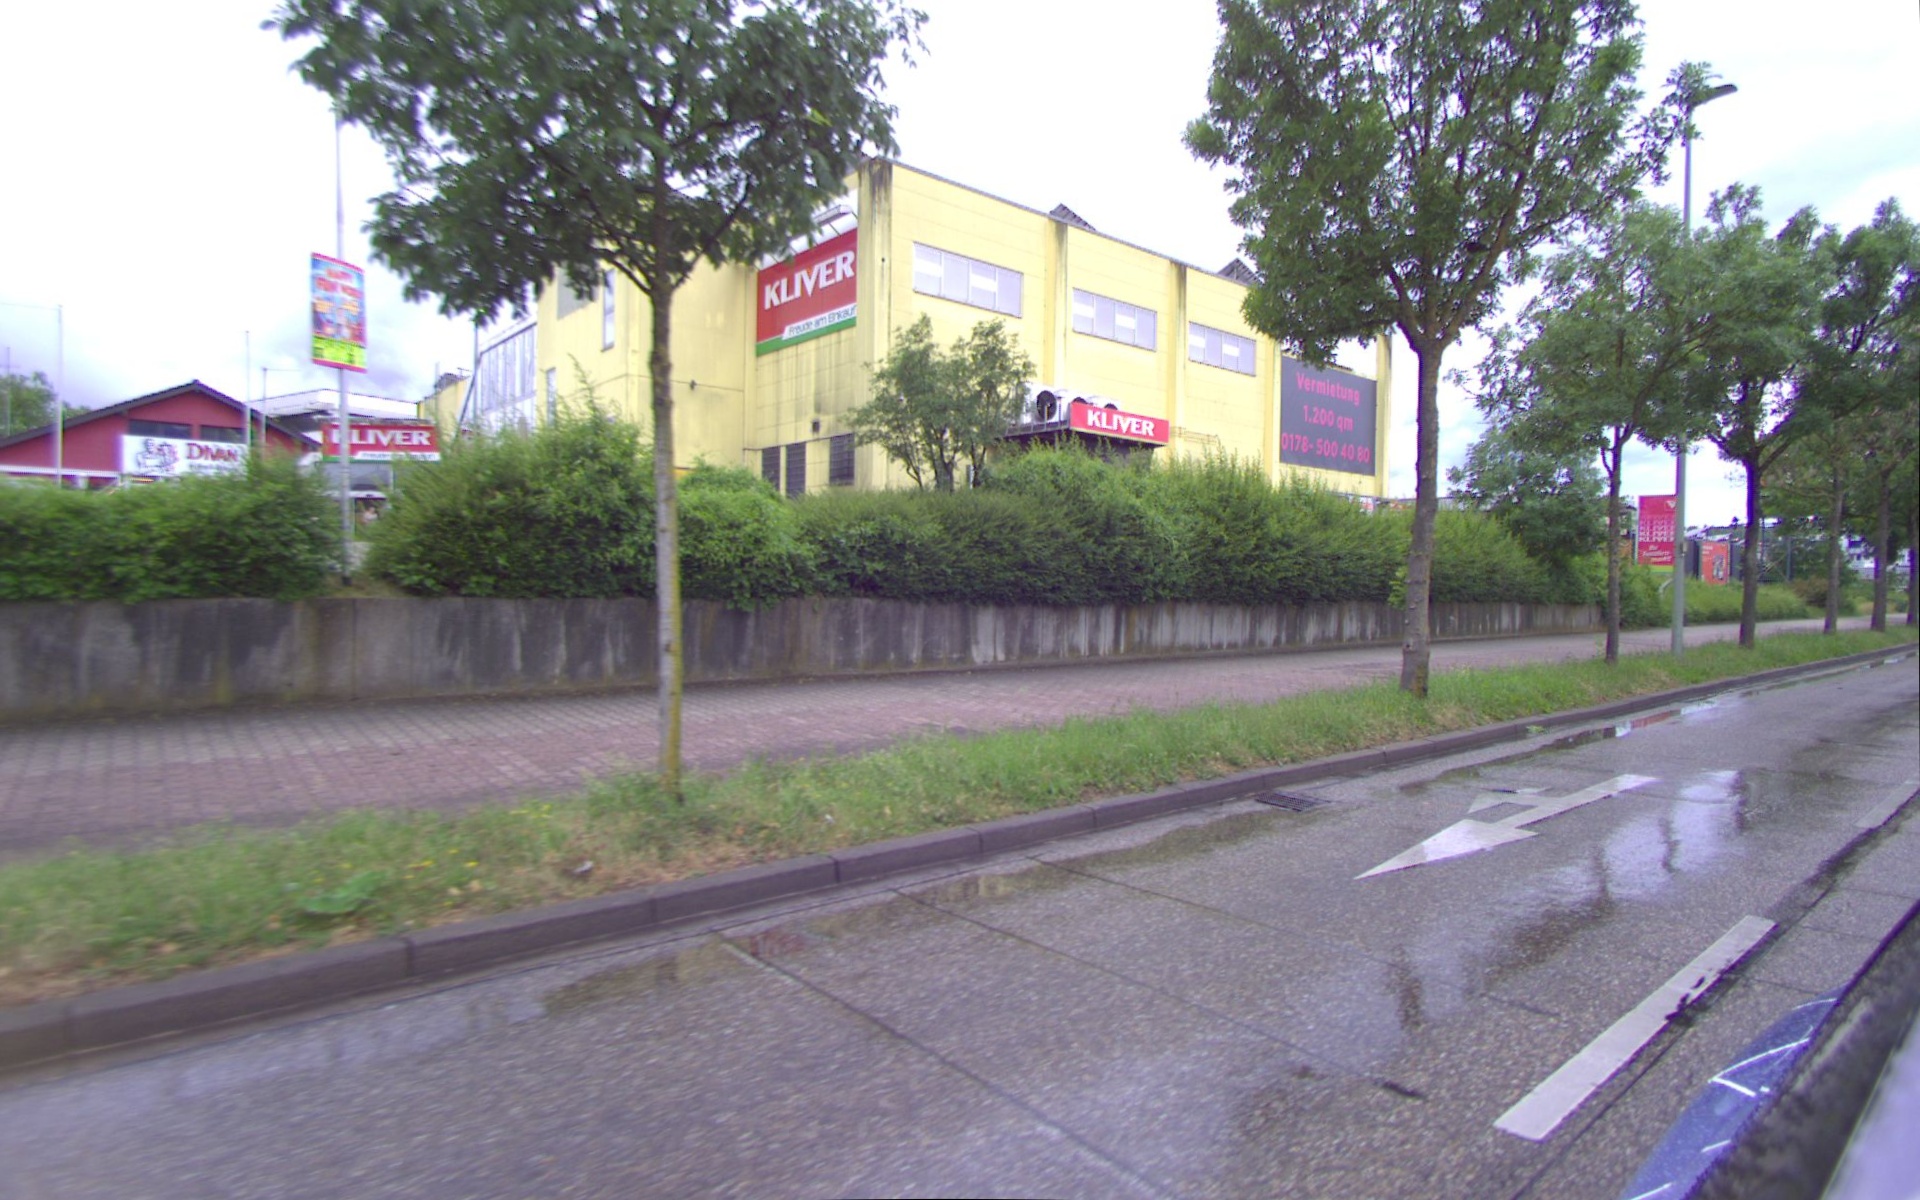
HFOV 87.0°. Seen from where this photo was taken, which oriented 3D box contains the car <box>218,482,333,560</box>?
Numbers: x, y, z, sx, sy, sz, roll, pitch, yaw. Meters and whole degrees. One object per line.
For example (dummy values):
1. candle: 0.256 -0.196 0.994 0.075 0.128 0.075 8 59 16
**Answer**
1. car: -17.876 -1.979 26.376 1.966 1.801 3.993 0 2 -42
